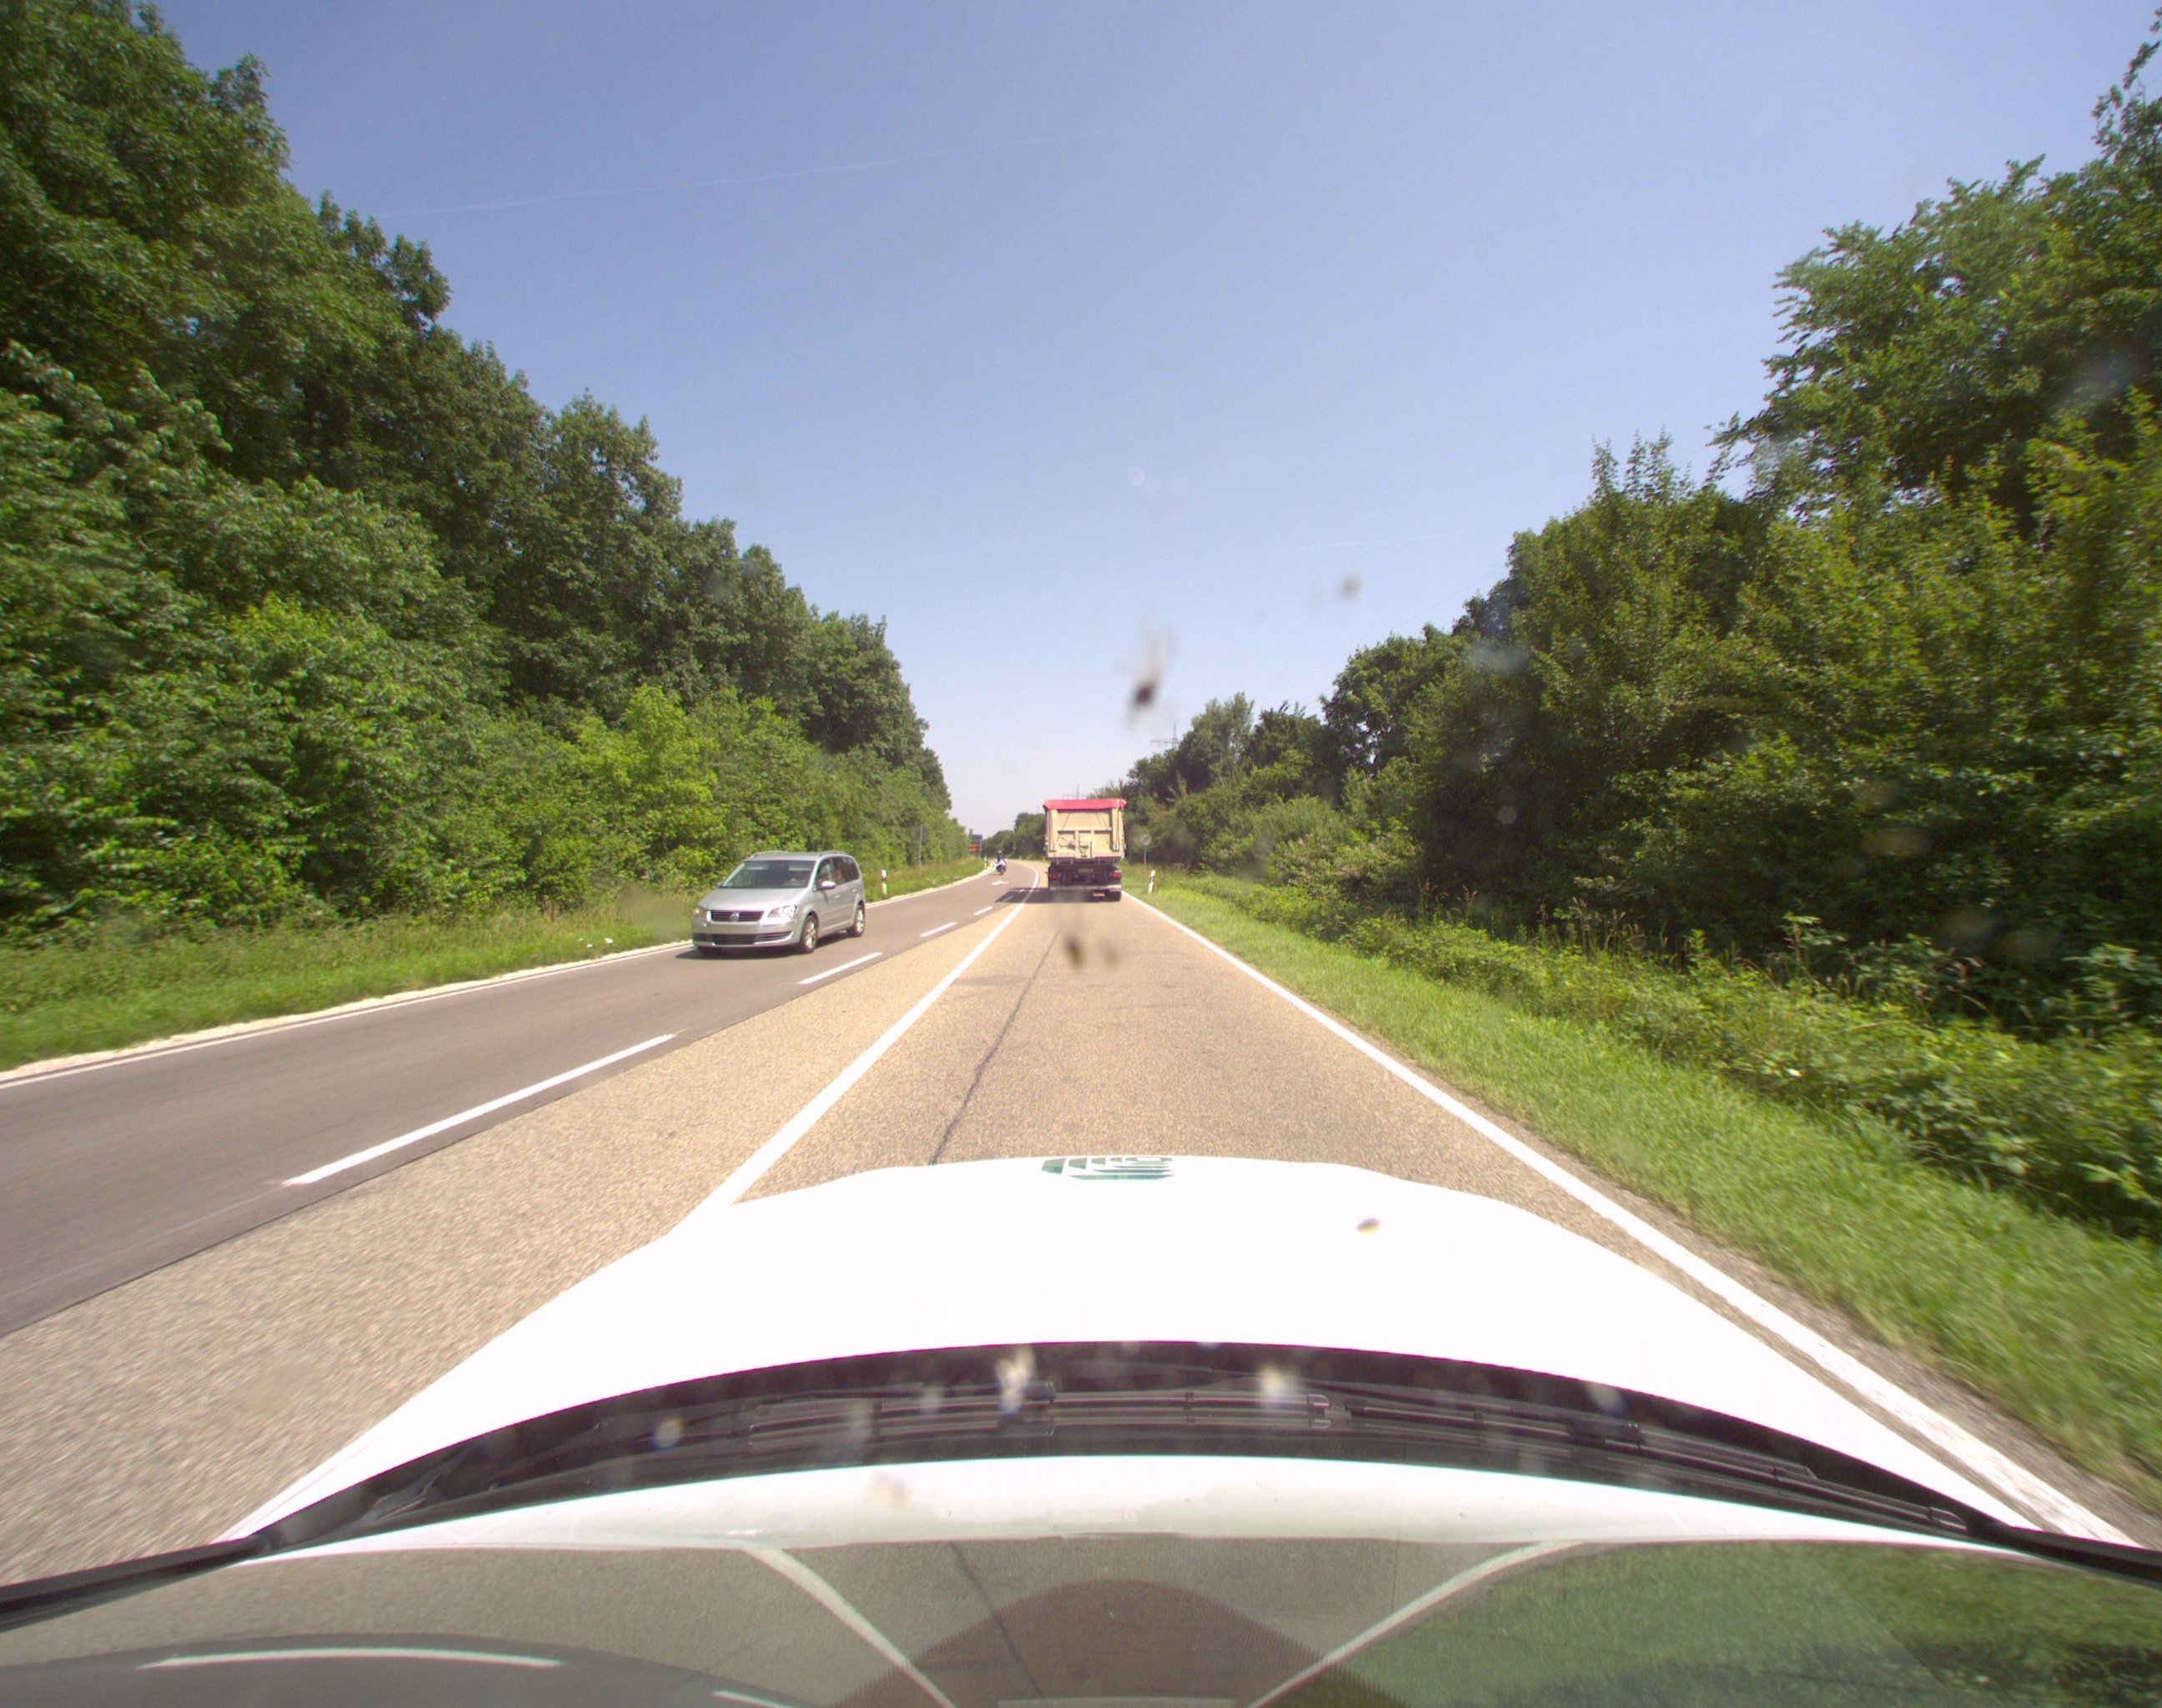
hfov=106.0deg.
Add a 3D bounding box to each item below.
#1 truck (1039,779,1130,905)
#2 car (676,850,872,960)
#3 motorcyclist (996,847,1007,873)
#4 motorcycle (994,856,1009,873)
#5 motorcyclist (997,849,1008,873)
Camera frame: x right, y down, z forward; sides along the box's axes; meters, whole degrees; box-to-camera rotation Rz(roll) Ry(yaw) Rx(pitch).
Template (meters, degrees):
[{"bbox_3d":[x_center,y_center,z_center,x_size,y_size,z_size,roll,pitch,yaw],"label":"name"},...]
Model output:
[{"bbox_3d":[0.073,-0.410,31.780,2.884,3.962,11.929,0,0,0],"label":"truck"},{"bbox_3d":[-5.132,0.772,14.288,1.796,1.636,4.212,0,0,1],"label":"car"},{"bbox_3d":[-5.826,0.447,59.724,0.818,1.881,0.656,0,0,-4],"label":"motorcyclist"},{"bbox_3d":[-5.845,0.763,60.103,0.944,1.251,2.679,0,0,-3],"label":"motorcycle"},{"bbox_3d":[-5.825,0.504,60.409,0.829,1.752,0.622,0,0,-4],"label":"motorcyclist"}]
